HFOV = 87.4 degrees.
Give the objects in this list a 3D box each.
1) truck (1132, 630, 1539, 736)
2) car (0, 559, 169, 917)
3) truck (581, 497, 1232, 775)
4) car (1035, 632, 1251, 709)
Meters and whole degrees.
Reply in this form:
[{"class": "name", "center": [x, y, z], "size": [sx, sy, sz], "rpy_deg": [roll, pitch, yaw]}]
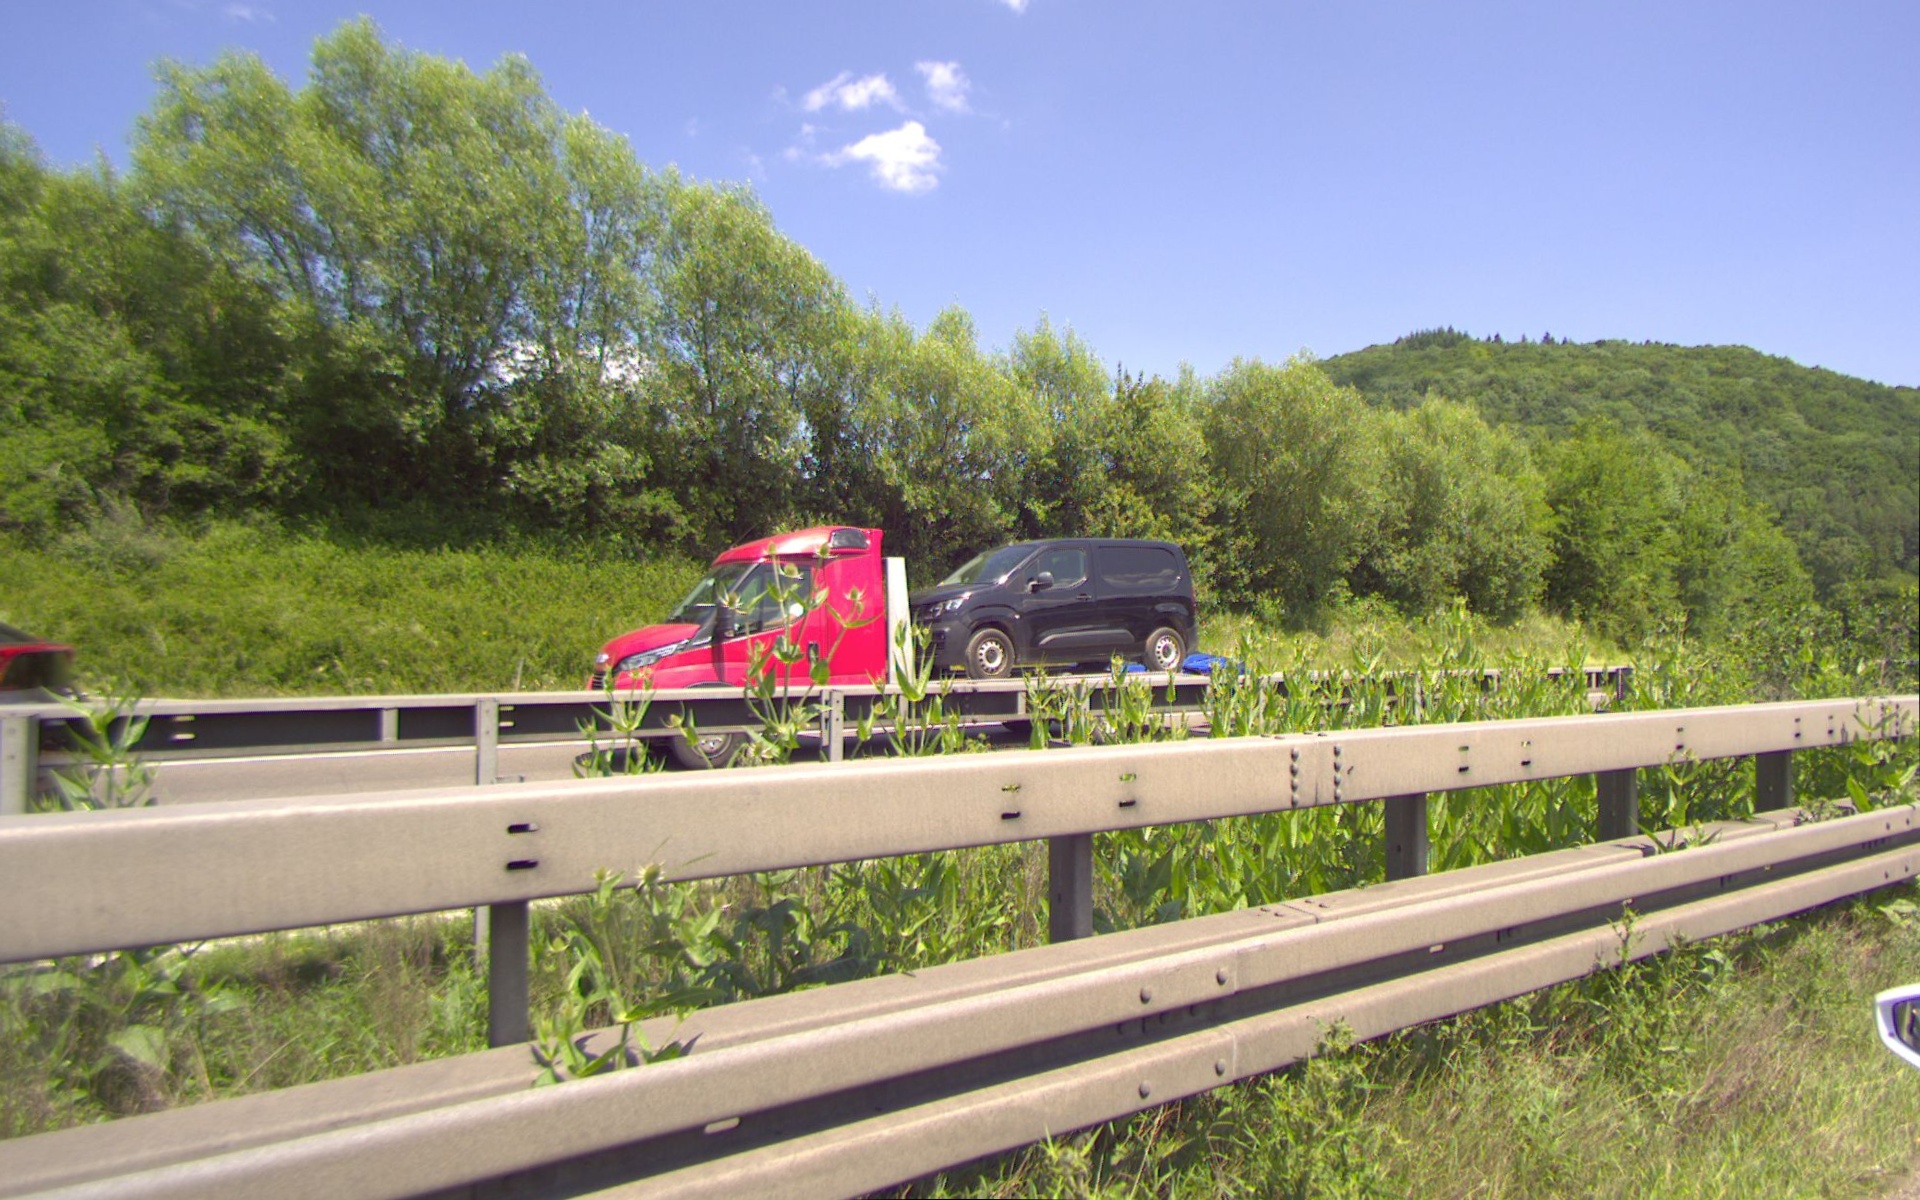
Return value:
[{"class": "truck", "center": [6.175, 1.213, 16.114], "size": [6.925, 1.351, 2.199], "rpy_deg": [1, 0, -30]}, {"class": "car", "center": [-6.174, 0.597, 4.455], "size": [3.955, 1.620, 1.767], "rpy_deg": [1, -1, -32]}, {"class": "truck", "center": [-0.346, 0.444, 12.403], "size": [7.872, 2.622, 2.286], "rpy_deg": [1, -2, -30]}, {"class": "car", "center": [3.752, 1.365, 20.428], "size": [4.062, 1.374, 1.983], "rpy_deg": [2, -1, -32]}]
